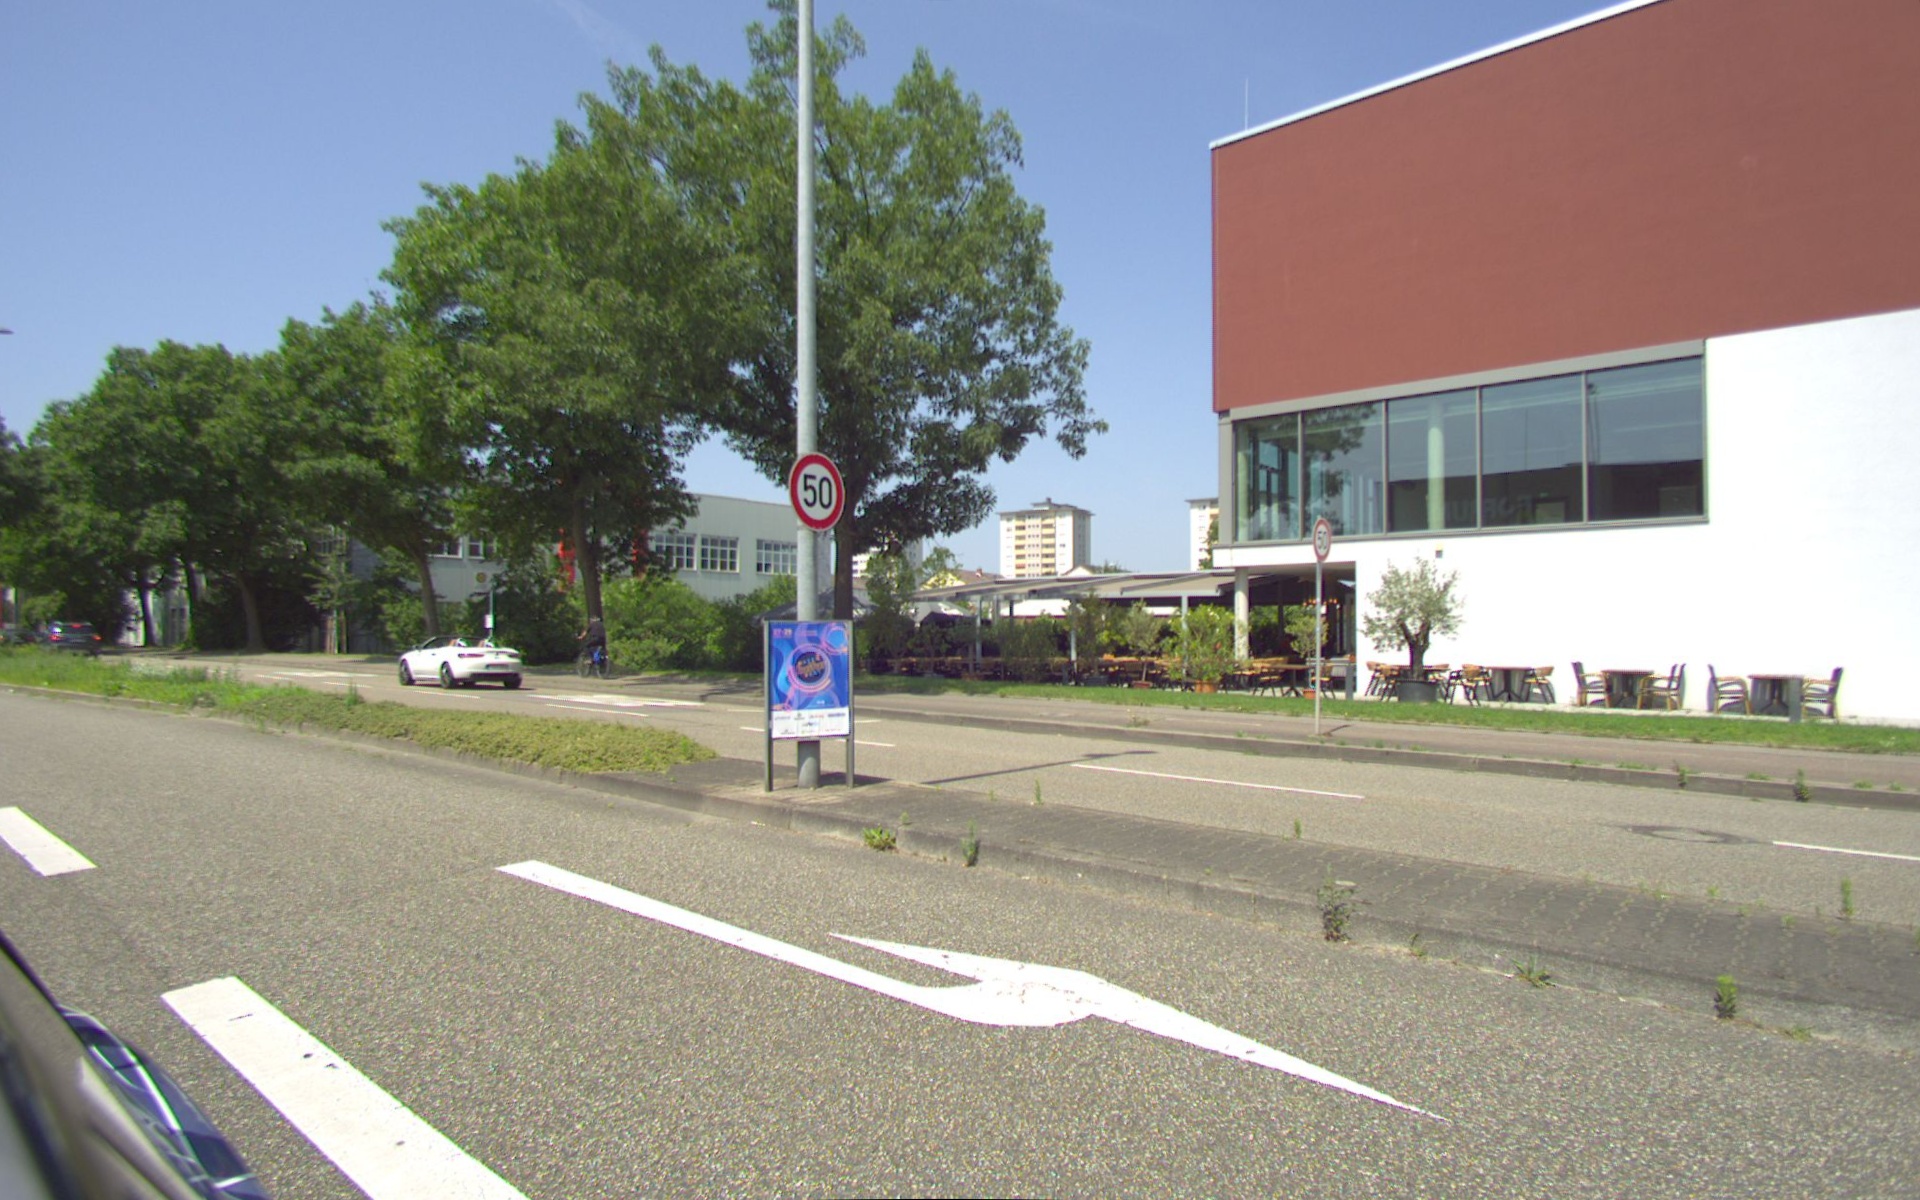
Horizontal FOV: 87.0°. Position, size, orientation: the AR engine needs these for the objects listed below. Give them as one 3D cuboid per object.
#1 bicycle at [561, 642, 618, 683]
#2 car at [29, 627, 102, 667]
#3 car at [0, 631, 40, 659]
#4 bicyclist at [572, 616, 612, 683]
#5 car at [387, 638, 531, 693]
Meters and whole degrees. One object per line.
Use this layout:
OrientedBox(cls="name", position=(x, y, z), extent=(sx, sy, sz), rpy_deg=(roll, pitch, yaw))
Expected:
OrientedBox(cls="bicycle", position=(-10.231, 1.713, 27.895), extent=(1.883, 1.059, 0.648), rpy_deg=(-1, -2, 41))
OrientedBox(cls="car", position=(-38.165, 1.979, 43.145), extent=(3.881, 1.612, 1.670), rpy_deg=(-1, -5, 40))
OrientedBox(cls="car", position=(-49.182, 2.328, 52.386), extent=(3.996, 1.349, 1.662), rpy_deg=(-1, -5, 39))
OrientedBox(cls="bicyclist", position=(-10.097, 1.343, 27.768), extent=(0.927, 1.783, 0.643), rpy_deg=(-2, -2, 41))
OrientedBox(cls="car", position=(-12.829, 1.636, 25.812), extent=(4.298, 1.272, 1.700), rpy_deg=(-1, -4, 40))
